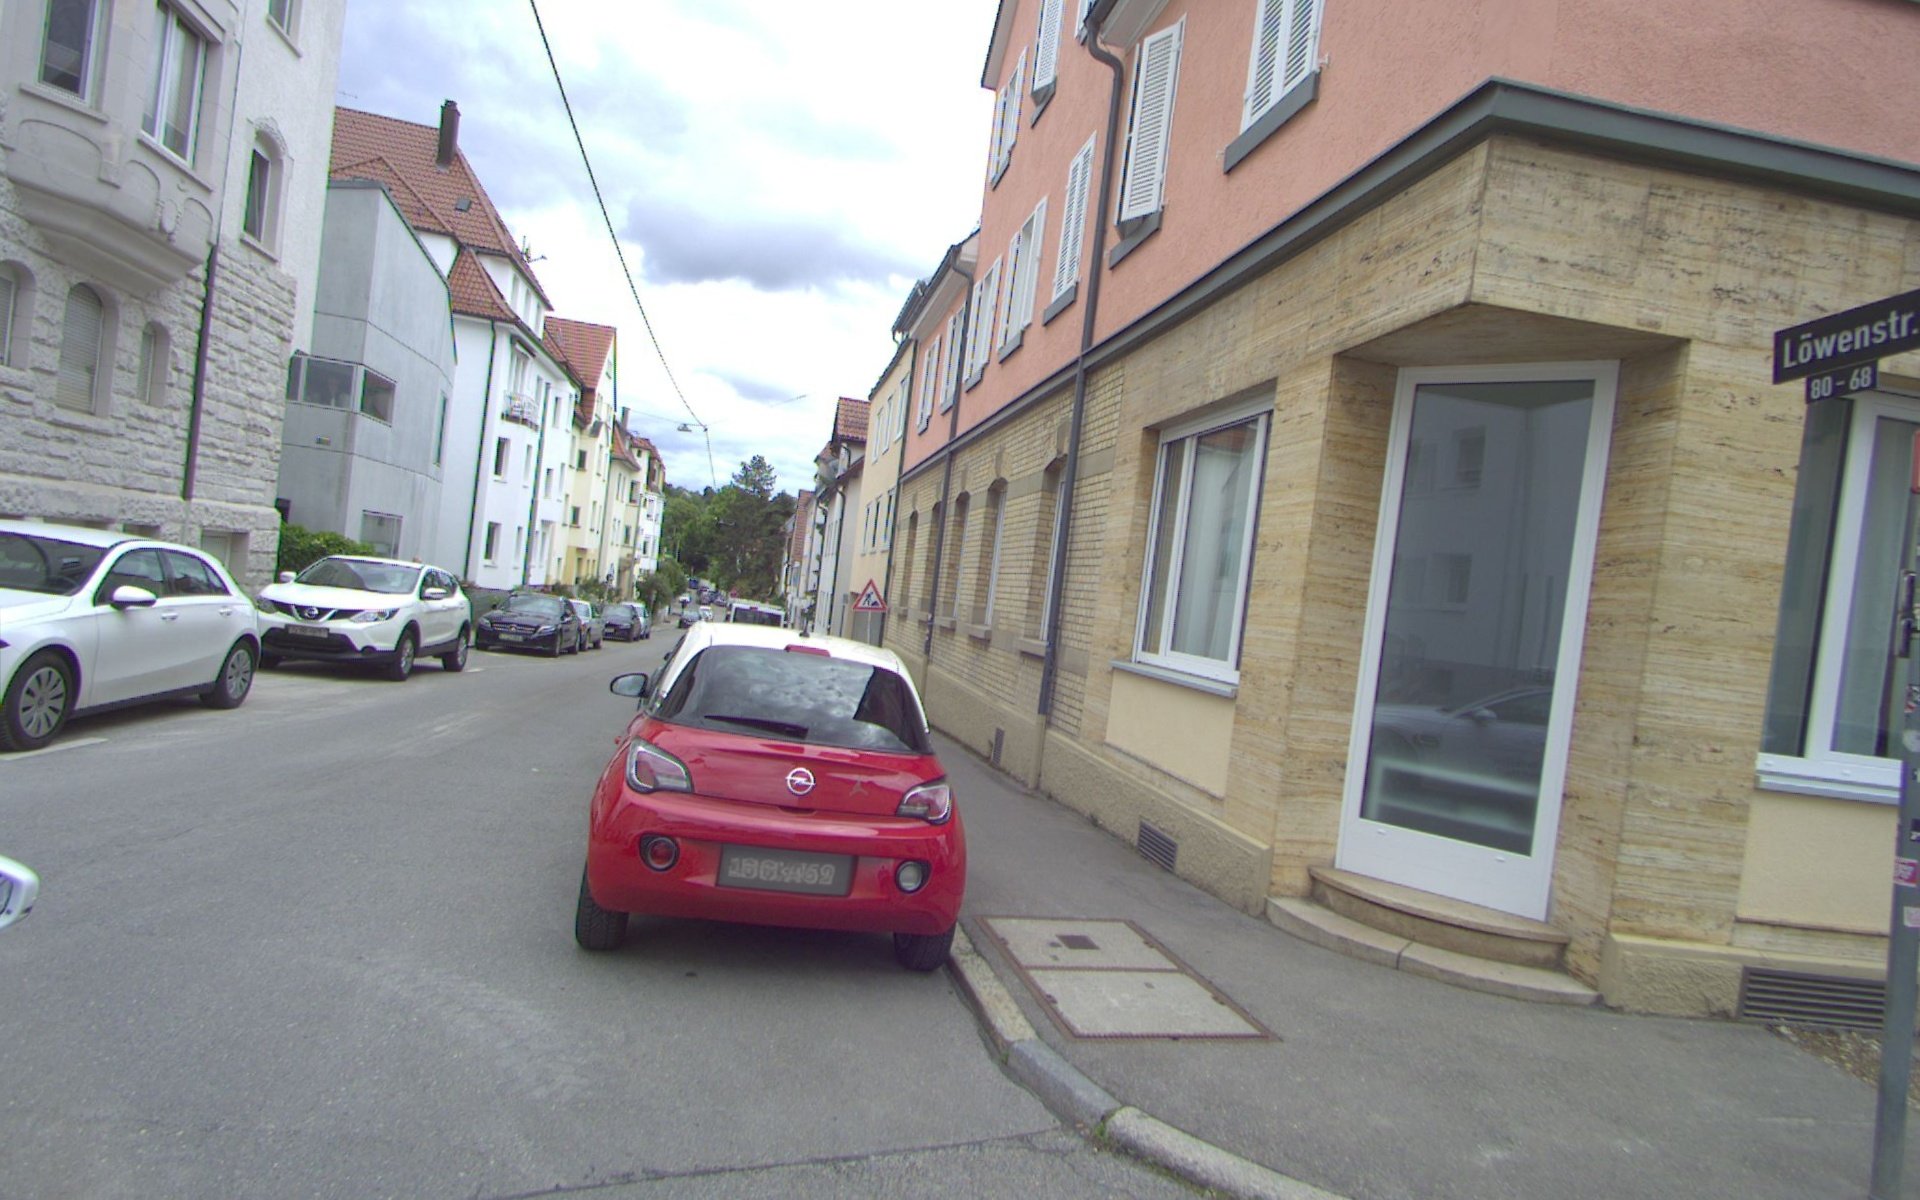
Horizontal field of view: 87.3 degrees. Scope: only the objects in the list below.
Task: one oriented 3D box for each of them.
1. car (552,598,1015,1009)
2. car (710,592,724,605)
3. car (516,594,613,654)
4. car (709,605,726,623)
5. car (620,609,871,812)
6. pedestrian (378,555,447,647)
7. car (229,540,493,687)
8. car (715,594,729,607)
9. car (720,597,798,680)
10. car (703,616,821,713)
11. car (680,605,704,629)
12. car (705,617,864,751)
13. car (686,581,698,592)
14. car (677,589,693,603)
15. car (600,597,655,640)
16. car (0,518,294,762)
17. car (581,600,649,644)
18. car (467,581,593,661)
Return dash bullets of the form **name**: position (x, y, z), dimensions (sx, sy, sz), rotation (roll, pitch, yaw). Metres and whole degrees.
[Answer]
- **car**: position (-1.079, 0.855, 5.726), dimensions (1.647, 1.496, 3.618), rotation (7, -2, -14)
- **car**: position (-38.375, -0.227, 158.797), dimensions (1.617, 1.502, 3.511), rotation (9, 1, -20)
- **car**: position (-11.653, 0.686, 29.991), dimensions (1.821, 1.429, 5.051), rotation (7, -2, -13)
- **car**: position (-28.198, 1.648, 116.918), dimensions (1.650, 1.678, 3.852), rotation (7, 1, -12)
- **car**: position (-2.141, 0.946, 10.316), dimensions (1.829, 1.419, 4.286), rotation (9, -2, -11)
- **pedestrian**: position (-12.113, 0.033, 22.288), dimensions (0.803, 1.907, 0.848), rotation (6, -1, 11)
- **car**: position (-8.079, 0.190, 14.080), dimensions (1.821, 1.533, 4.232), rotation (7, -2, -13)
- **car**: position (-36.526, 0.086, 154.418), dimensions (1.617, 1.502, 3.511), rotation (9, 1, -20)
- **car**: position (-6.257, 1.118, 31.097), dimensions (1.882, 2.052, 5.722), rotation (9, -2, -12)
- **car**: position (-3.933, 1.202, 19.699), dimensions (1.829, 1.418, 4.569), rotation (9, -4, -12)
- **car**: position (-23.603, 1.468, 88.584), dimensions (1.822, 1.836, 4.534), rotation (7, -2, -14)
- **car**: position (-2.711, 1.124, 14.804), dimensions (1.830, 1.419, 3.957), rotation (9, -2, -14)
- **car**: position (-48.835, -2.424, 183.094), dimensions (1.617, 1.557, 3.511), rotation (9, 1, -20)
- **car**: position (-41.137, -0.652, 150.406), dimensions (1.656, 1.678, 3.839), rotation (6, 1, -24)
- **car**: position (-15.116, 0.832, 45.926), dimensions (1.821, 1.650, 4.278), rotation (7, -2, -13)
- **car**: position (-6.792, 0.155, 7.372), dimensions (1.677, 1.430, 4.232), rotation (7, -2, -13)
- **car**: position (-13.676, 0.883, 40.080), dimensions (1.820, 1.474, 4.499), rotation (7, -3, -11)
- **car**: position (-10.239, 0.485, 24.300), dimensions (1.872, 1.544, 4.462), rotation (7, -2, -13)
